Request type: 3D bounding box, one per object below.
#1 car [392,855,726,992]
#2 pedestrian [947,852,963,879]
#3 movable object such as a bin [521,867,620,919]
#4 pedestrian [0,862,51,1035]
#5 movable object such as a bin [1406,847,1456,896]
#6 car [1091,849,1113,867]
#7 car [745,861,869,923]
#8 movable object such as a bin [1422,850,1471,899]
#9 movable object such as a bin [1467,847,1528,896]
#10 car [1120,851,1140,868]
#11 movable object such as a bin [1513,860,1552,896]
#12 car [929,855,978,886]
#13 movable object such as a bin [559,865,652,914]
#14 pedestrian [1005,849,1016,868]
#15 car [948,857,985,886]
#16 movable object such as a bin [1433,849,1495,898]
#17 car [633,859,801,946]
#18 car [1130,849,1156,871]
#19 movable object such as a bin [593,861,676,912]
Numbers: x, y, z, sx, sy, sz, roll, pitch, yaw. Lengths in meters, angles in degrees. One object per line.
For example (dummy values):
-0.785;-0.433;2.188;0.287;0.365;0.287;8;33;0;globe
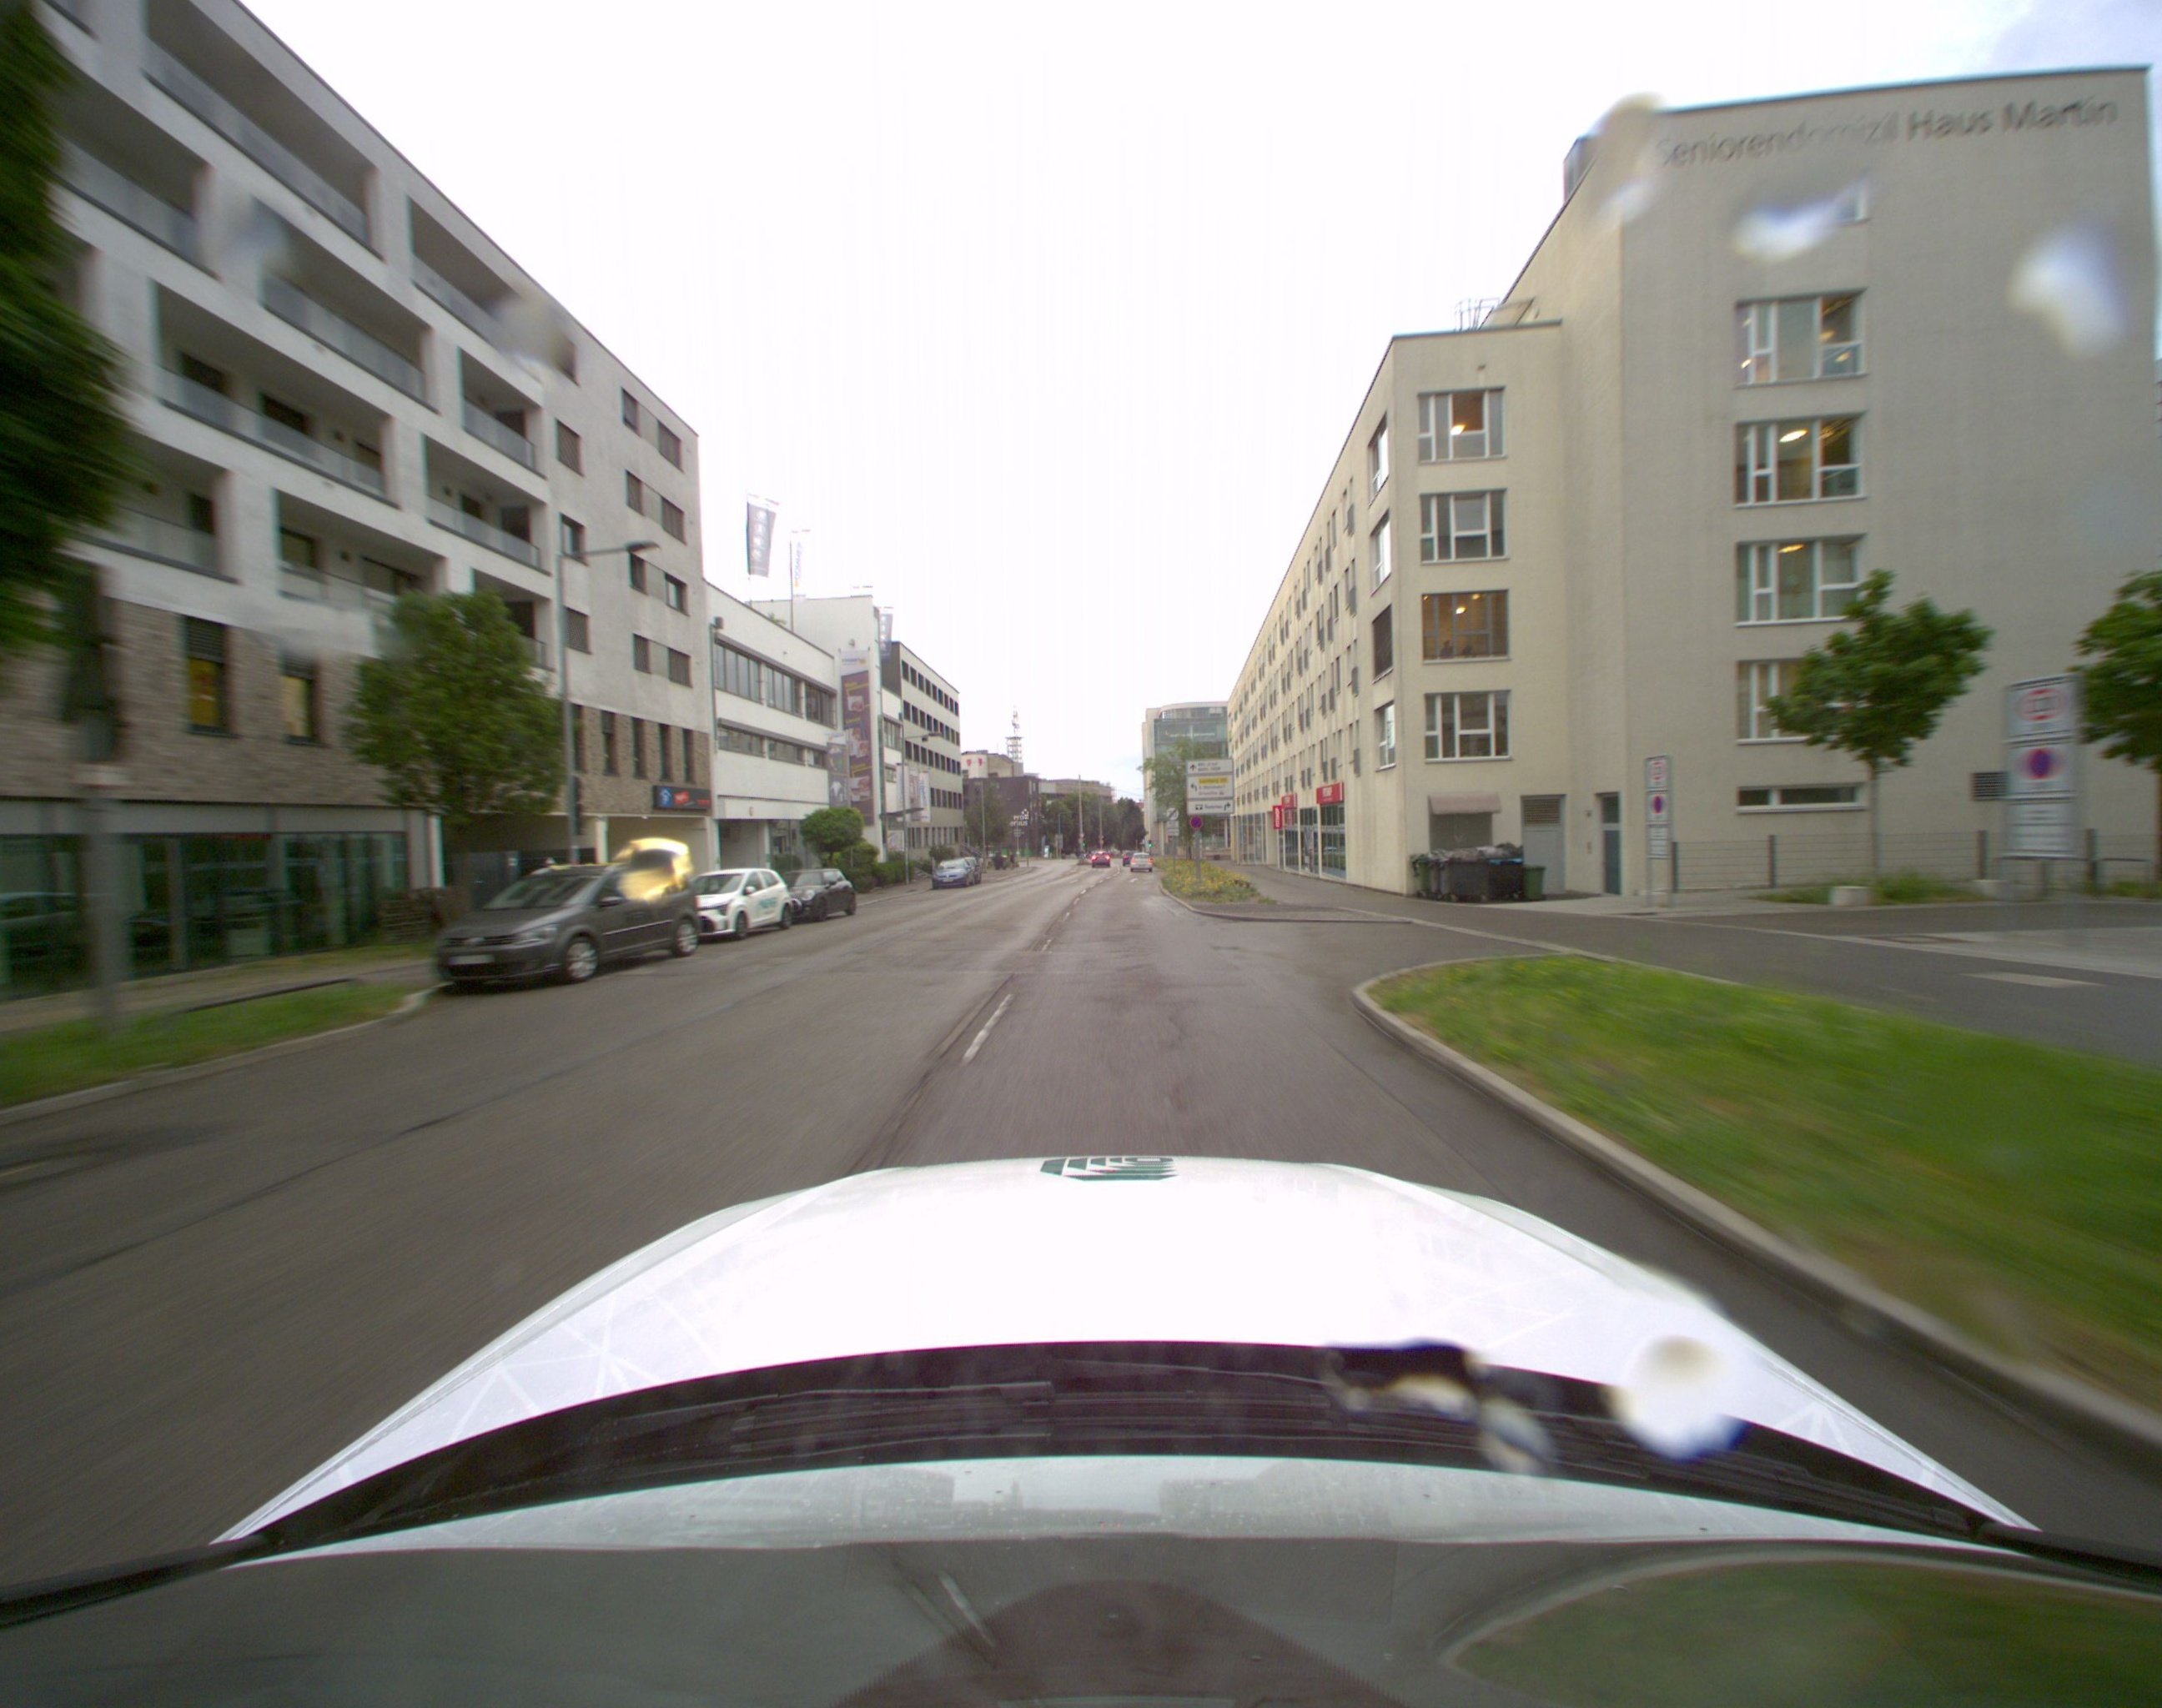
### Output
-7.647;0.883;12.686;2.070;1.609;4.685;-3;0;0;car
-8.228;0.754;53.245;0.732;1.708;0.896;-2;-1;-25;pedestrian
-14.625;1.100;23.395;2.021;1.430;1.289;0;0;-2;movable object such as a bin
-10.922;0.939;7.852;0.707;1.683;0.956;-2;0;-3;pedestrian
11.050;0.549;25.746;1.168;1.503;1.015;-2;0;4;movable object such as a bin
2.127;0.451;83.260;2.133;1.728;4.001;-1;-1;2;car
-7.463;0.985;22.654;1.789;1.516;4.249;-1;-1;3;car
11.061;0.610;24.684;1.017;1.402;1.059;-2;0;4;movable object such as a bin
12.483;0.512;24.455;1.255;1.402;1.113;-2;0;4;movable object such as a bin
5.315;0.563;88.692;1.986;1.750;3.674;-2;0;2;car
13.515;0.700;24.399;0.695;1.027;0.854;-2;0;4;movable object such as a bin
-6.549;0.833;42.252;1.908;1.481;4.354;-1;-1;-1;car
-14.479;1.053;24.884;2.048;1.423;1.316;-1;0;-2;movable object such as a bin
-7.203;0.474;83.128;0.959;1.955;0.776;-1;-1;-11;pedestrian
-6.516;0.955;46.581;1.558;1.514;3.171;-3;0;0;car
11.079;0.561;23.586;1.229;1.320;1.193;-2;-1;3;movable object such as a bin
-7.803;0.961;17.930;1.767;1.600;4.033;-2;0;1;car
4.865;0.417;63.689;1.984;1.577;4.001;-2;0;5;car
-14.417;1.025;26.356;1.791;1.510;1.480;-3;0;-2;movable object such as a bin
